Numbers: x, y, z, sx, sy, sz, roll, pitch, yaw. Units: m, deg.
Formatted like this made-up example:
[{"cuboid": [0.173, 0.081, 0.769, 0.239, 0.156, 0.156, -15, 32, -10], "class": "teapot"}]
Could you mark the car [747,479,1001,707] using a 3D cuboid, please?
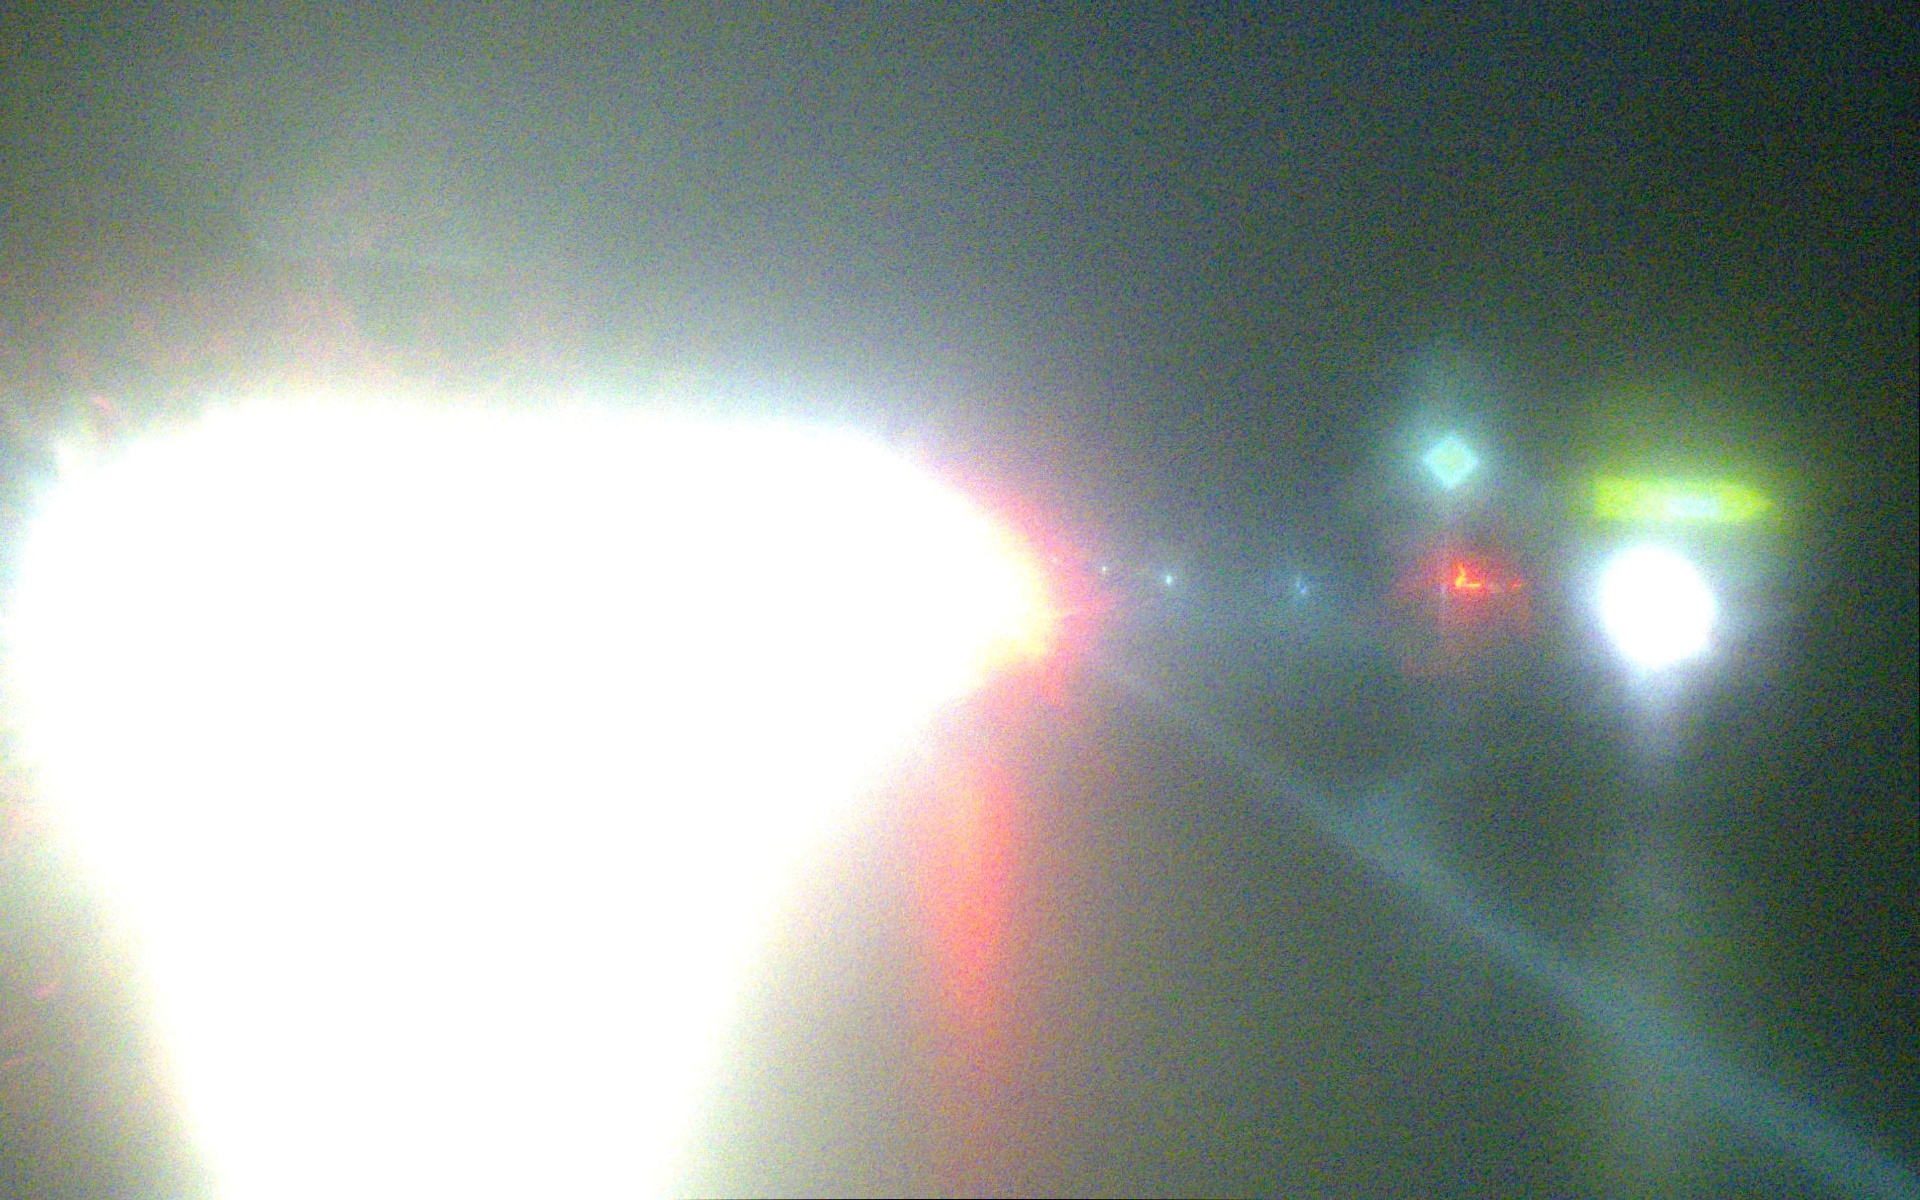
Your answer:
[{"cuboid": [-0.664, -0.082, 26.865, 1.808, 1.616, 4.000, 1, 1, -1], "class": "car"}]

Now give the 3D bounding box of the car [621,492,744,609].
[{"cuboid": [-4.308, -0.768, 52.980, 1.790, 1.685, 4.001, 1, 1, -6], "class": "car"}]

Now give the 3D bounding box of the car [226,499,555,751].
[{"cuboid": [-4.039, 0.135, 24.930, 1.899, 1.639, 3.792, 1, 1, -3], "class": "car"}]
